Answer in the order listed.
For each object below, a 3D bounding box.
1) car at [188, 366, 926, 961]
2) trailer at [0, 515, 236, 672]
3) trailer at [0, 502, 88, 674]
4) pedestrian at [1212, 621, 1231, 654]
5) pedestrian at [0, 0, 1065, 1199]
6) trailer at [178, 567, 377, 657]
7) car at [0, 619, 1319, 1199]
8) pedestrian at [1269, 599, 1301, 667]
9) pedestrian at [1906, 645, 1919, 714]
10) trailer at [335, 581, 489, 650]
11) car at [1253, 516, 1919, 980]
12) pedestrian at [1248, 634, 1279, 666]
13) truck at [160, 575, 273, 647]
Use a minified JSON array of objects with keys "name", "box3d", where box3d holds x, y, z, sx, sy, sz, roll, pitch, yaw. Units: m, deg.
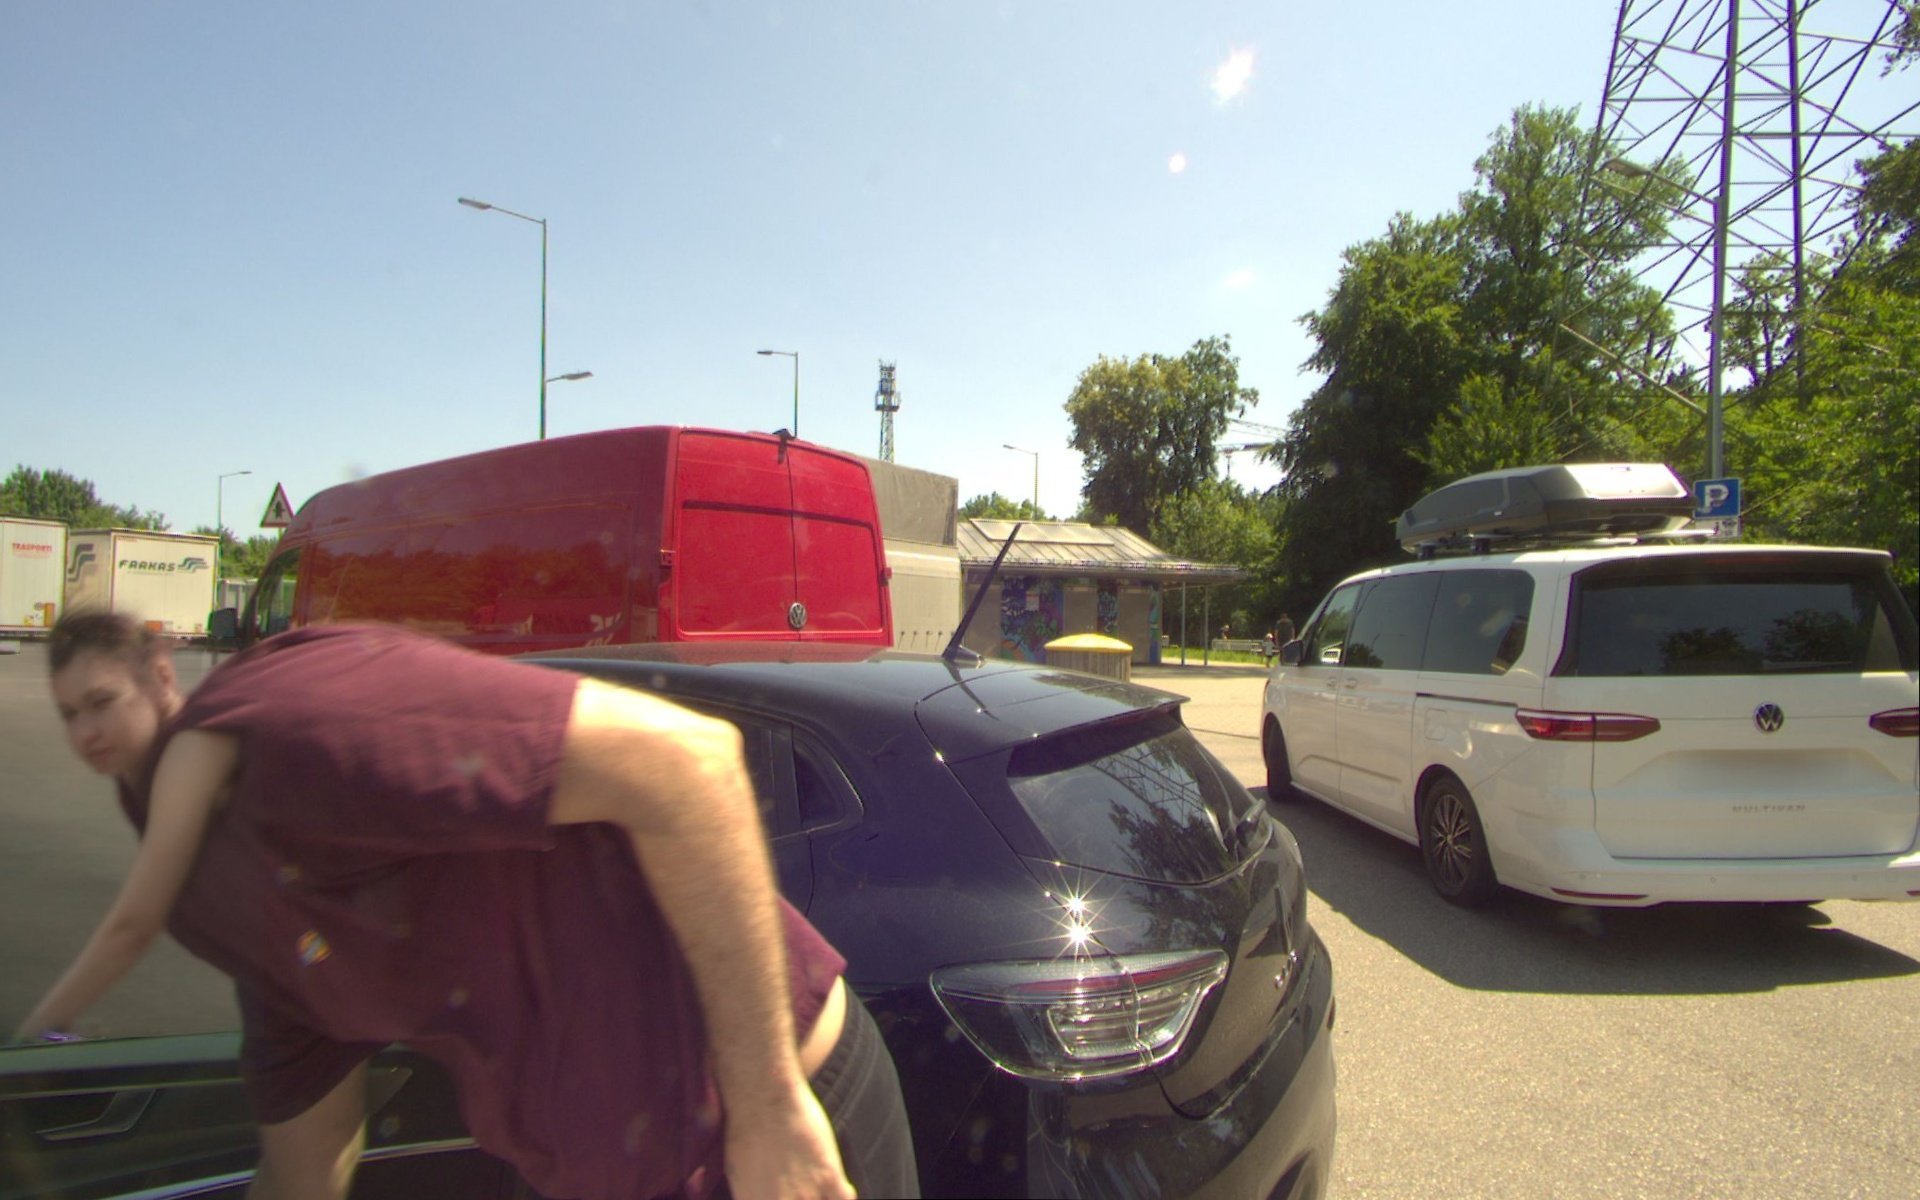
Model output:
[{"name":"car","box3d":[-3.352,0.315,7.344,6.310,2.731,2.060,0,-1,37]},{"name":"trailer","box3d":[-27.652,-0.195,31.621,13.523,4.184,2.835,1,-2,33]},{"name":"trailer","box3d":[-28.962,-0.377,28.140,13.523,4.184,2.835,1,-2,33]},{"name":"pedestrian","box3d":[12.089,1.734,46.365,0.636,1.547,0.563,1,-1,-25]},{"name":"pedestrian","box3d":[-0.437,0.596,0.904,0.878,1.865,0.618,-1,-1,35]},{"name":"trailer","box3d":[-32.376,0.486,47.132,13.530,3.764,2.834,1,-2,34]},{"name":"car","box3d":[-1.061,0.840,2.891,3.757,1.501,1.736,0,-1,27]},{"name":"pedestrian","box3d":[10.050,1.024,31.001,0.634,2.067,0.778,0,-1,-10]},{"name":"pedestrian","box3d":[17.193,1.390,17.458,0.876,1.192,0.666,-1,-2,32]},{"name":"trailer","box3d":[-36.036,0.926,65.425,13.530,4.101,2.834,1,-2,34]},{"name":"car","box3d":[3.489,0.674,6.474,1.875,1.937,4.565,0,-1,1]},{"name":"pedestrian","box3d":[9.372,1.538,30.968,0.634,0.960,0.778,0,-2,-10]},{"name":"truck","box3d":[-37.684,0.567,50.732,5.405,3.407,2.848,1,-2,34]}]
